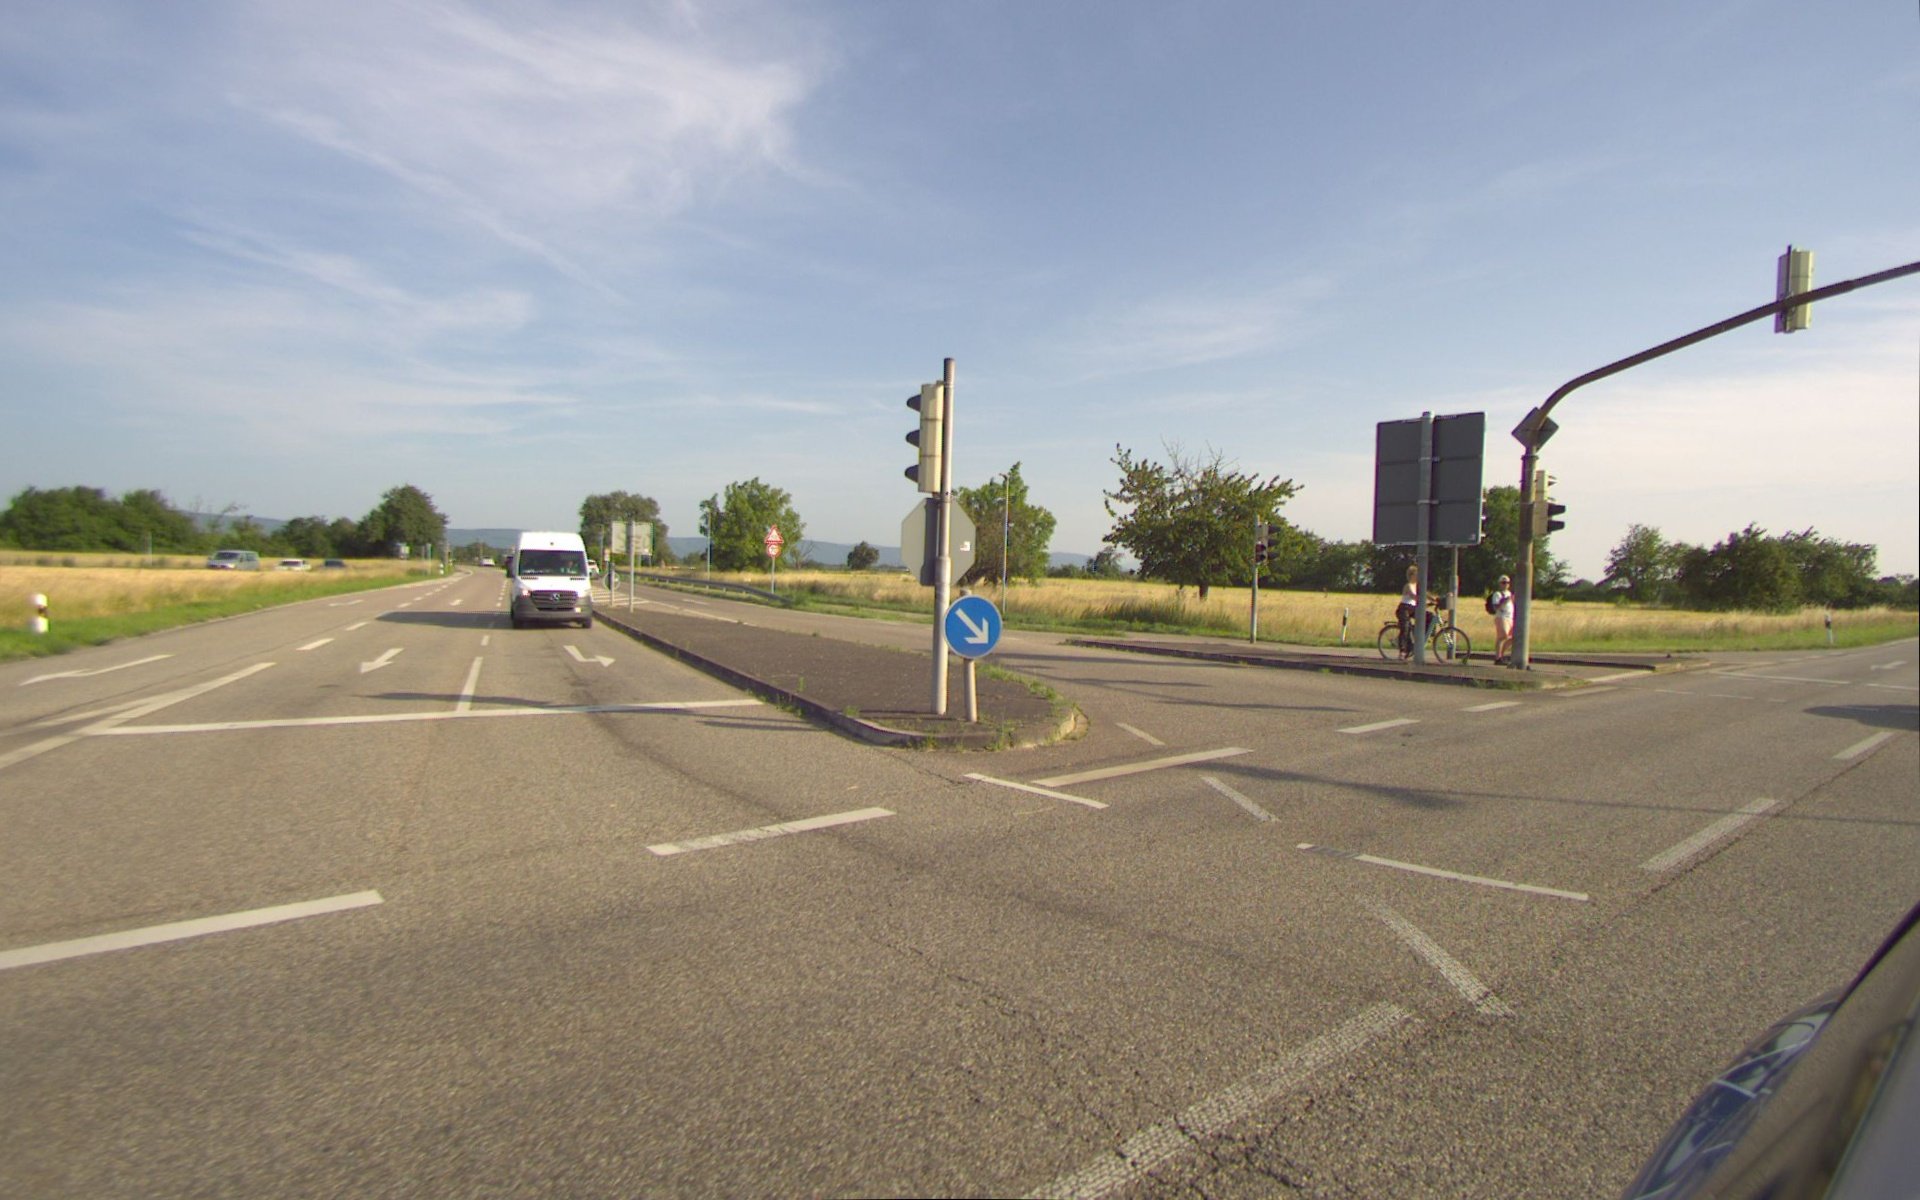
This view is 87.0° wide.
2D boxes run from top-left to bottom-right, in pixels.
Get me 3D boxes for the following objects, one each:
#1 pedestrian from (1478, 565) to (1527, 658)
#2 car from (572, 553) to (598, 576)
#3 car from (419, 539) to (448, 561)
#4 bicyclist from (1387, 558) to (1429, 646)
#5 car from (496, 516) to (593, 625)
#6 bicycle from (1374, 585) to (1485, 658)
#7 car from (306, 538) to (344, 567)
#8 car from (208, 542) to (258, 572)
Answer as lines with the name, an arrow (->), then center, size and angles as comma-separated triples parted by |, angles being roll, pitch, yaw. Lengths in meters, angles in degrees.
pedestrian -> 10.522, 0.218, 19.637 | 0.586, 1.773, 0.624 | 0, 0, -30
car -> -29.232, -2.774, 78.829 | 1.698, 1.683, 4.008 | 0, 1, -22
car -> -47.072, -4.440, 90.502 | 1.808, 1.776, 4.008 | 0, 1, -20
bicyclist -> 8.492, 0.038, 19.178 | 0.494, 1.632, 0.560 | 0, 0, -34
car -> -11.899, -0.862, 28.673 | 2.049, 2.702, 7.229 | 0, 2, -26
bicycle -> 8.734, 0.368, 18.894 | 0.519, 1.305, 1.858 | 0, 0, -37
car -> -46.545, -3.440, 74.234 | 1.808, 1.972, 4.007 | 0, 1, -24
car -> -51.290, -3.002, 71.469 | 1.808, 1.972, 4.008 | 0, 1, -19
